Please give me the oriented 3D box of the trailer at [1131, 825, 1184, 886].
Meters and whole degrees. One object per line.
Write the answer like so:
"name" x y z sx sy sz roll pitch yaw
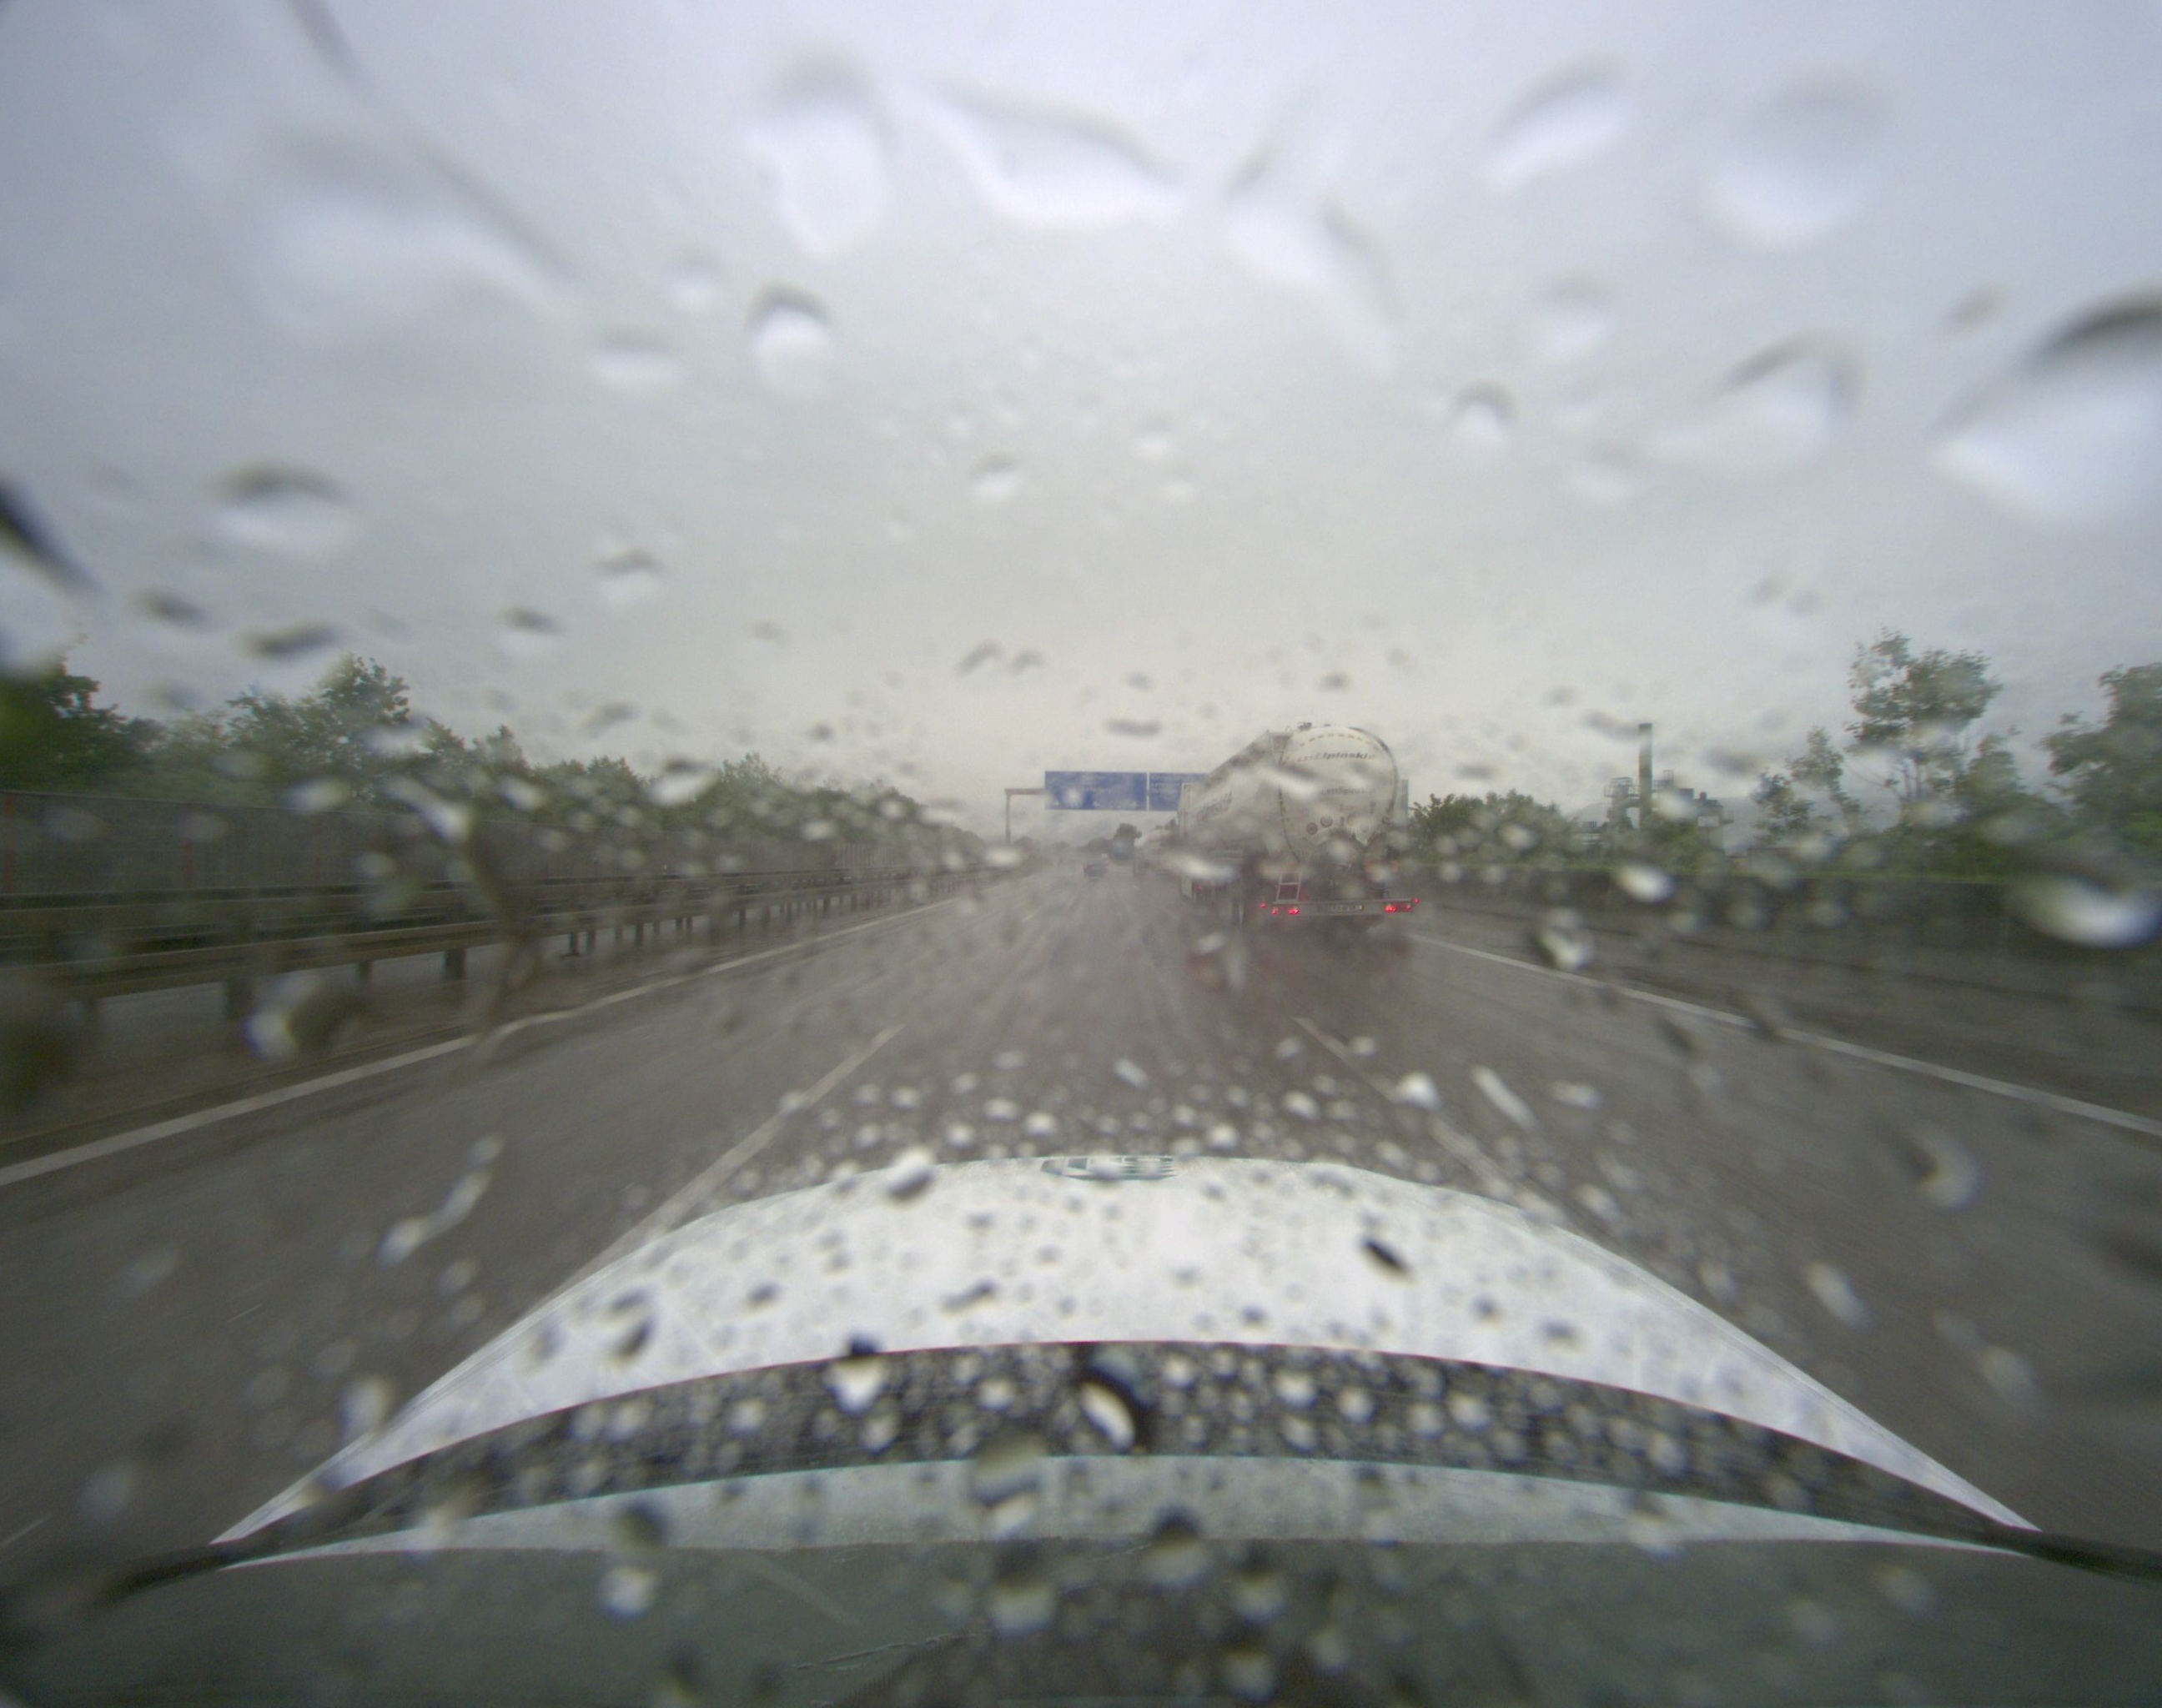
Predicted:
"trailer" 5.142 0.114 56.226 2.994 3.848 8.624 -1 0 1

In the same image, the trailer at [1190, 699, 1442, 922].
"trailer" 4.661 -0.721 19.290 3.175 3.670 11.675 0 0 3

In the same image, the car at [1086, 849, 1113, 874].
"car" 1.428 0.564 61.652 1.971 1.756 4.484 -1 0 2

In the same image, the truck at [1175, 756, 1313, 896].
"truck" 4.879 -0.758 25.861 3.093 3.806 7.214 0 0 1

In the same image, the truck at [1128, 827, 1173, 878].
"truck" 5.219 -0.108 62.236 2.934 3.684 6.361 -1 0 0

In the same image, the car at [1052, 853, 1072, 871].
"car" -1.966 0.805 84.295 1.920 1.741 4.401 0 0 -2
